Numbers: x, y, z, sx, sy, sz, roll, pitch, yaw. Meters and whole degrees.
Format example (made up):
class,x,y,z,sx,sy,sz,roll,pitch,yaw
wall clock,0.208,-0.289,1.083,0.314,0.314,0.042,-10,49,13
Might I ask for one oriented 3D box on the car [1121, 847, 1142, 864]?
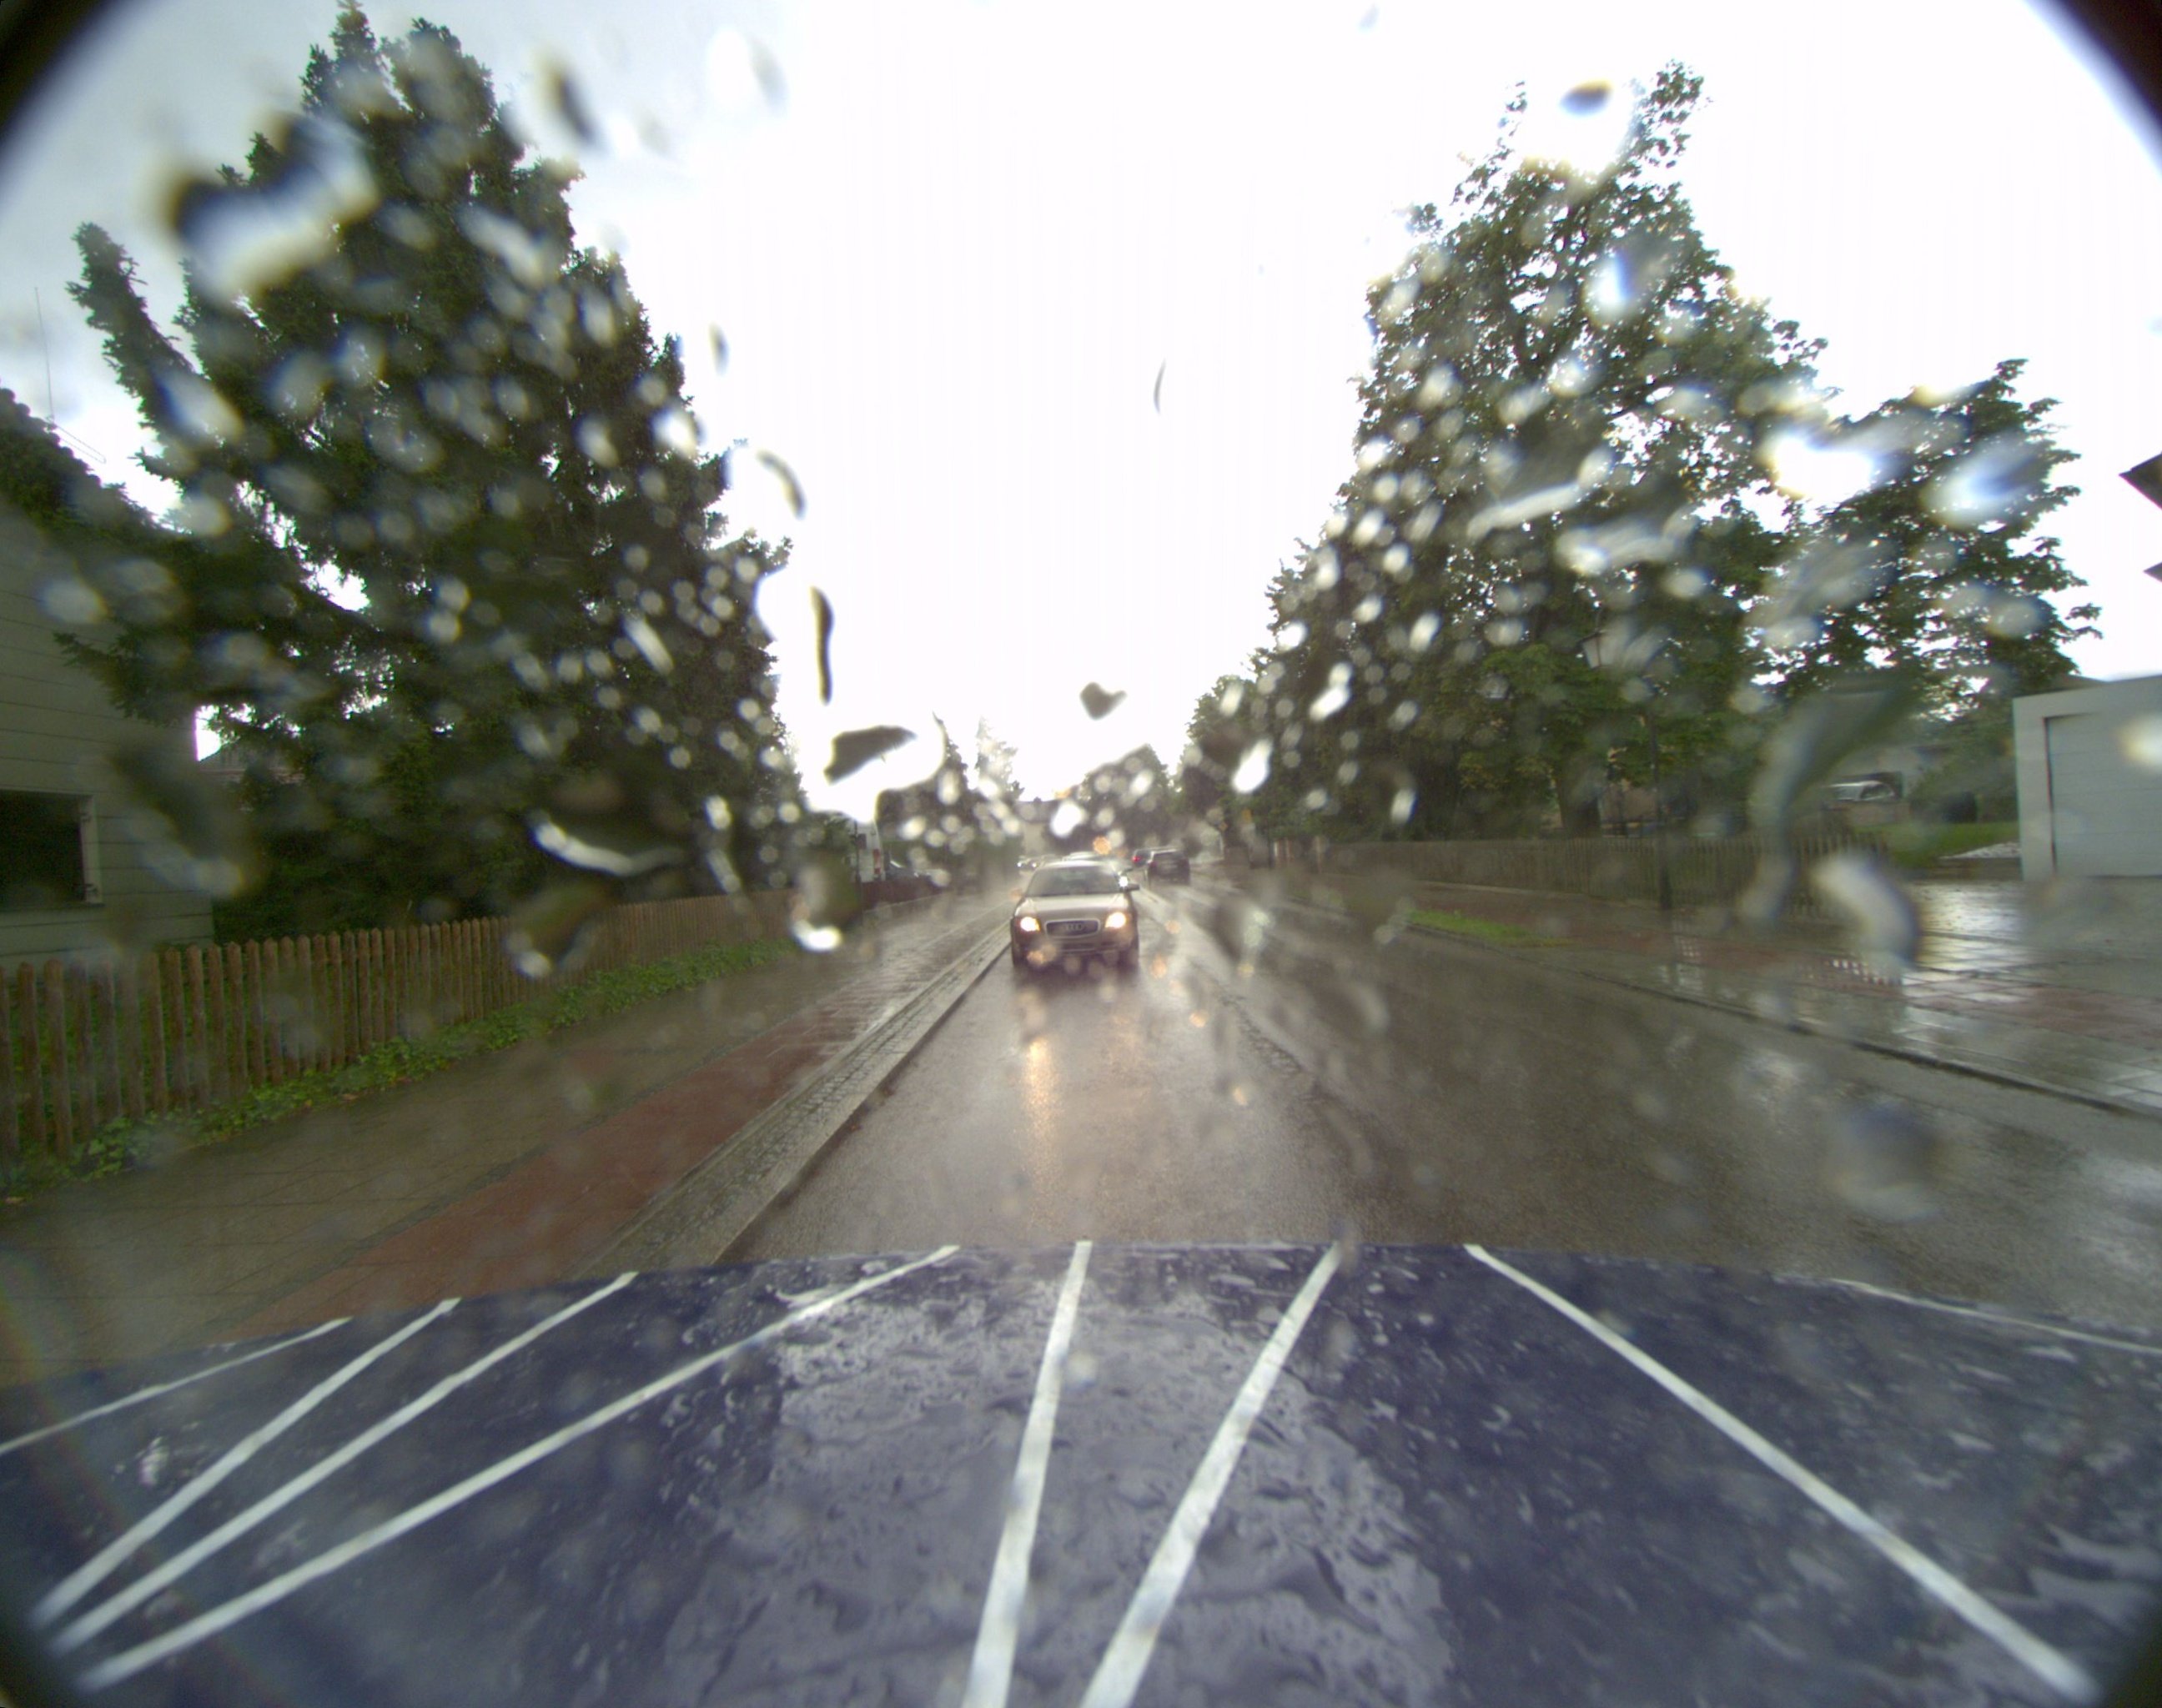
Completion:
class,x,y,z,sx,sy,sz,roll,pitch,yaw
car,4.650,0.144,70.627,1.712,1.457,4.000,-4,1,1

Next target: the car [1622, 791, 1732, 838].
class,x,y,z,sx,sy,sz,roll,pitch,yaw
car,28.796,-1.873,36.805,1.845,1.792,3.649,-6,0,-33

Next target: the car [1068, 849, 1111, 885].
class,x,y,z,sx,sy,sz,roll,pitch,yaw
car,0.438,0.594,37.806,1.872,1.512,4.960,-5,1,1

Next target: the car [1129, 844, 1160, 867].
class,x,y,z,sx,sy,sz,roll,pitch,yaw
car,4.492,0.073,54.401,1.785,1.457,4.374,-4,1,0

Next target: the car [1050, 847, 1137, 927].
class,x,y,z,sx,sy,sz,roll,pitch,yaw
car,0.316,0.738,19.804,1.872,1.603,4.960,-5,1,1

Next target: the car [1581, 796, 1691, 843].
class,x,y,z,sx,sy,sz,roll,pitch,yaw
car,26.052,-1.582,35.780,1.845,1.792,3.649,-6,0,-33

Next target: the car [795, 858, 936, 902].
class,x,y,z,sx,sy,sz,roll,pitch,yaw
car,-7.356,0.860,26.277,4.443,1.413,1.829,0,1,-7

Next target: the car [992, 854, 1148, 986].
class,x,y,z,sx,sy,sz,roll,pitch,yaw
car,-0.103,0.830,11.573,1.872,1.512,4.188,-3,1,1

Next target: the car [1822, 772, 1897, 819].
class,x,y,z,sx,sy,sz,roll,pitch,yaw
car,40.709,-3.035,39.715,3.857,2.281,1.782,-3,1,-29

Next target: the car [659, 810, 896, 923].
class,x,y,z,sx,sy,sz,roll,pitch,yaw
car,-7.613,0.286,19.586,5.321,2.712,1.998,0,1,-9

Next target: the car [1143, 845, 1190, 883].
class,x,y,z,sx,sy,sz,roll,pitch,yaw
car,3.675,0.408,33.243,1.642,1.512,4.188,-1,0,1
